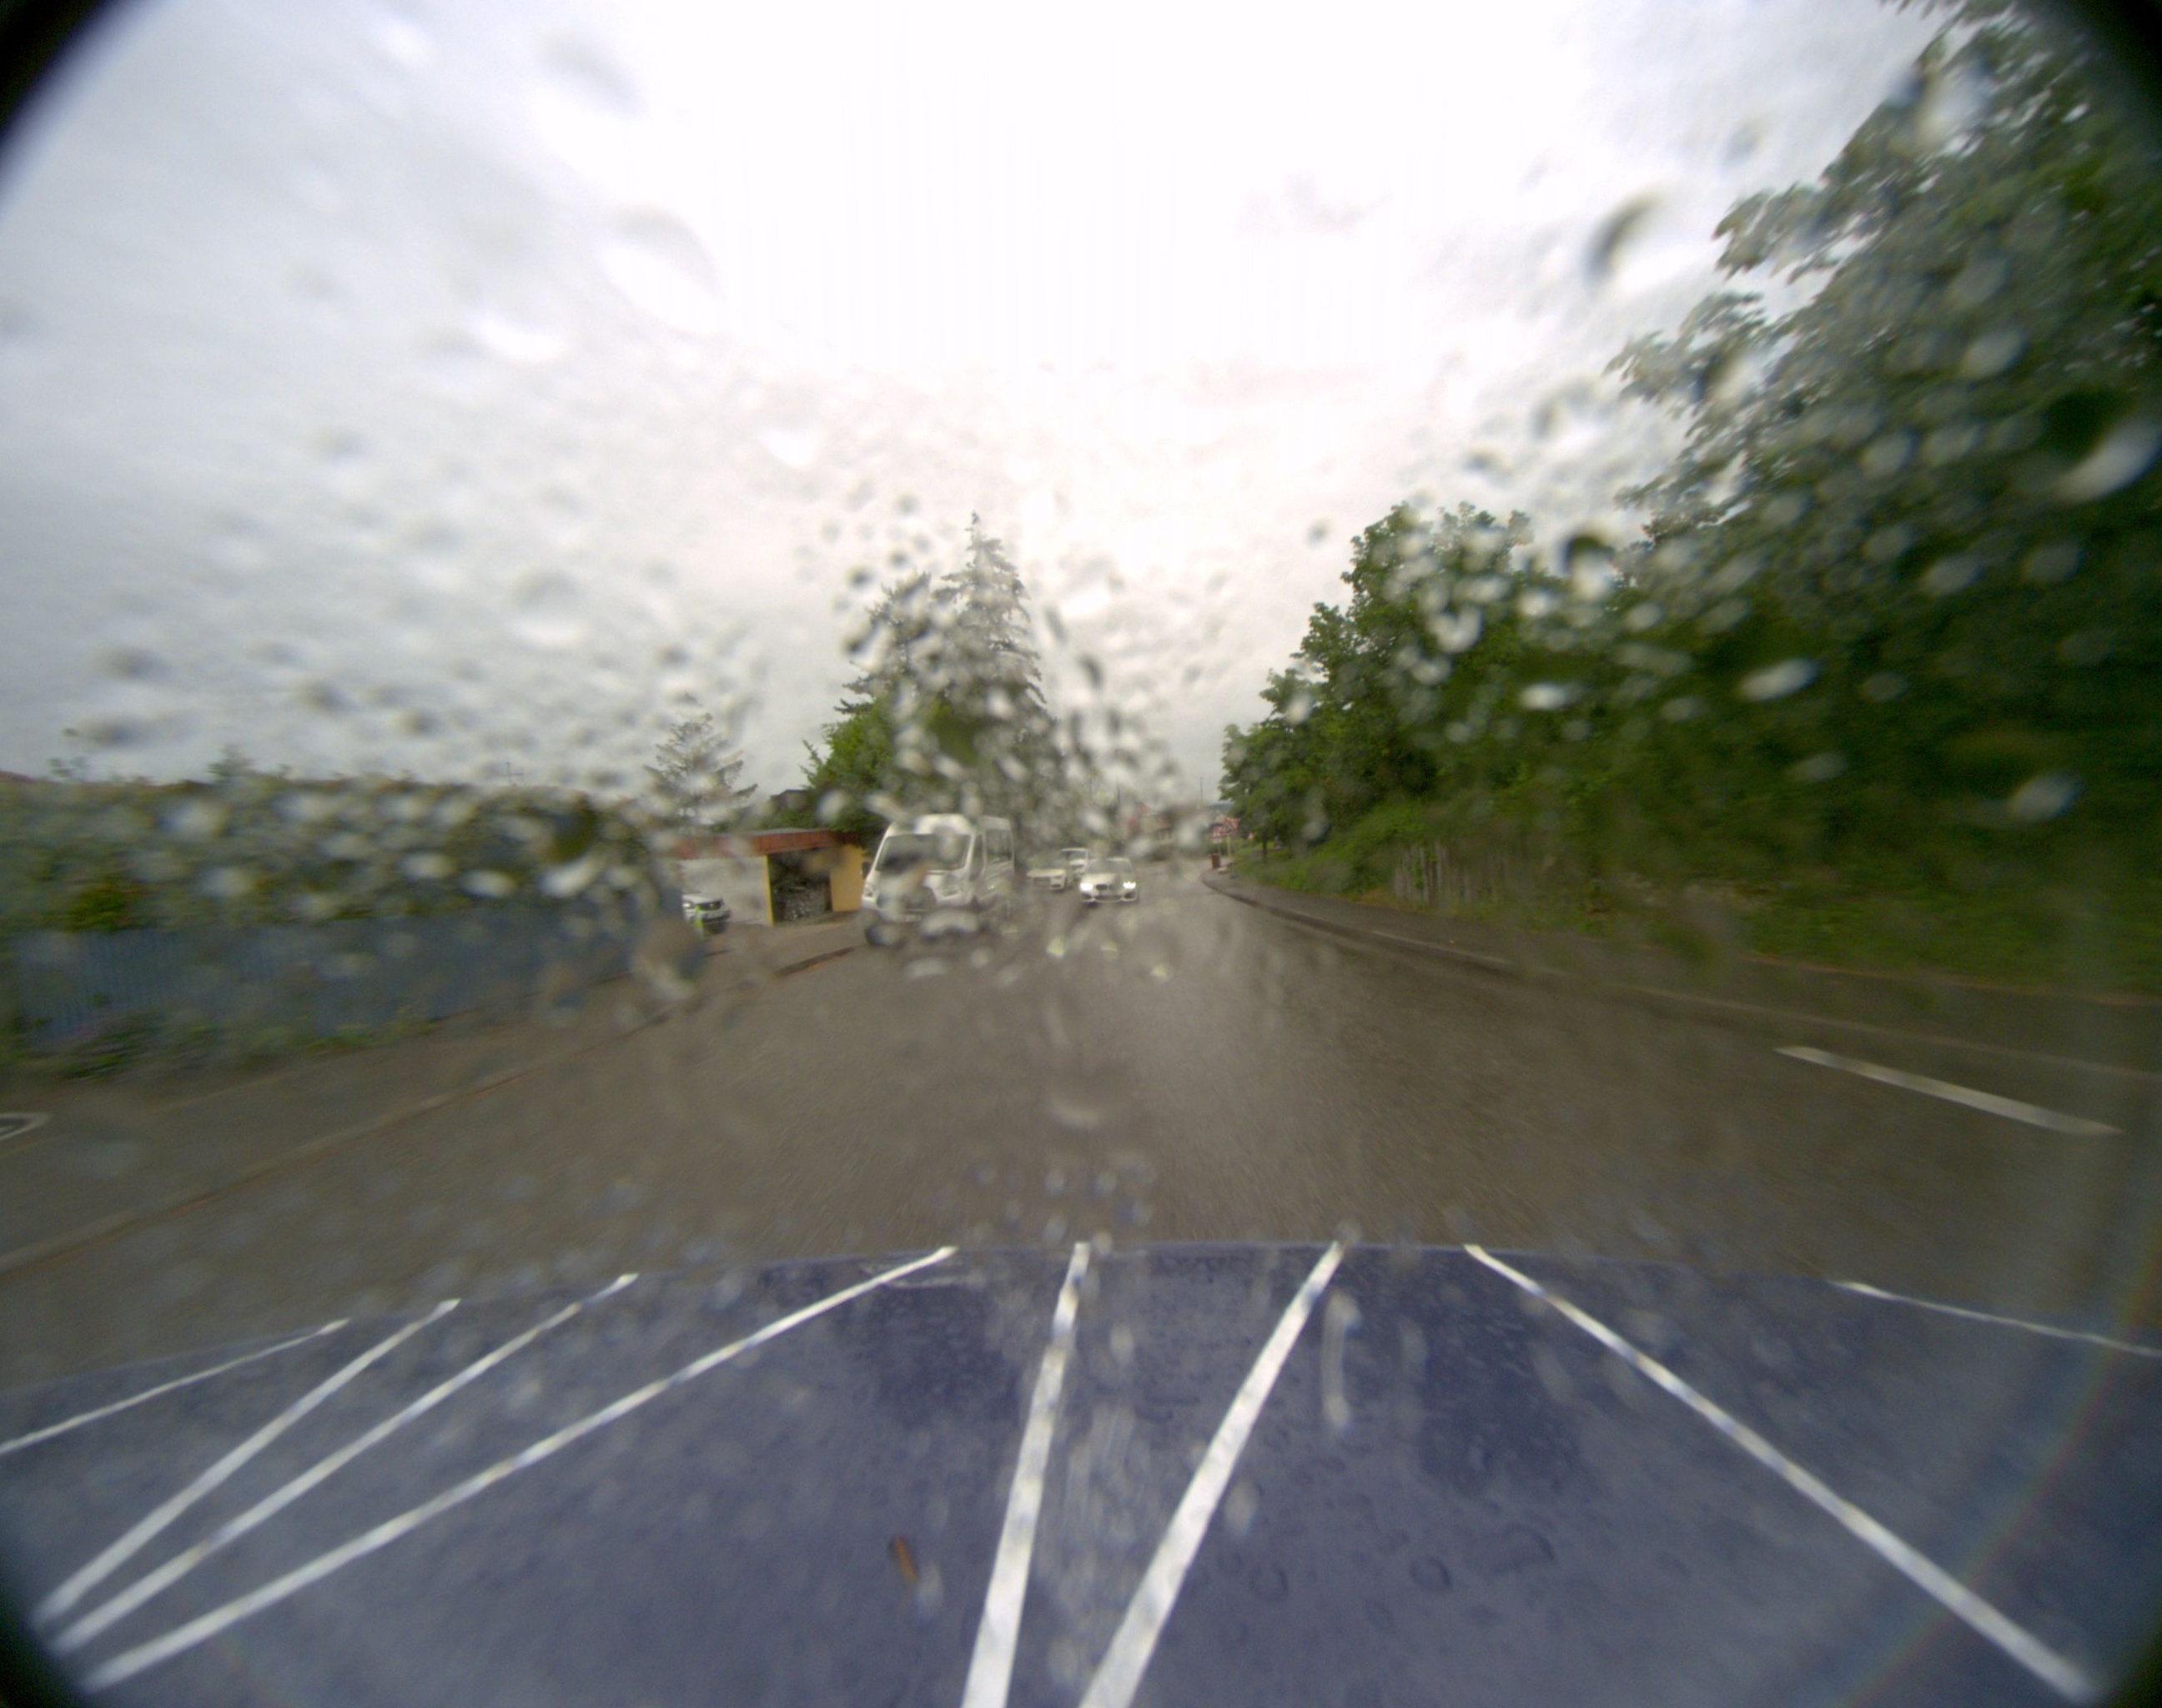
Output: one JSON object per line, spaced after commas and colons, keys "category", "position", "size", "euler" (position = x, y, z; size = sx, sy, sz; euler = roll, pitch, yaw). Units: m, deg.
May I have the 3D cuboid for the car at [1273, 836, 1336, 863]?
{"category": "car", "position": [16.605, -0.355, 56.607], "size": [3.997, 1.753, 1.963], "euler": [-3, 1, 0]}

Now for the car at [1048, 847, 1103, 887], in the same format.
{"category": "car", "position": [-0.195, 0.578, 37.834], "size": [1.868, 1.808, 4.864], "euler": [-2, 1, 9]}

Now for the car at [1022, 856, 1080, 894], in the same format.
{"category": "car", "position": [-1.207, 0.843, 32.224], "size": [1.753, 1.415, 4.002], "euler": [-2, 1, 8]}

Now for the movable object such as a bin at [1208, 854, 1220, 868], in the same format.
{"category": "movable object such as a bin", "position": [10.256, 0.523, 58.671], "size": [0.881, 1.024, 0.803], "euler": [-2, 1, 9]}

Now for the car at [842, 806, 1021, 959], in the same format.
{"category": "car", "position": [-2.781, 0.455, 15.947], "size": [2.077, 2.535, 6.182], "euler": [-2, 1, 4]}

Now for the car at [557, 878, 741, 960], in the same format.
{"category": "car", "position": [-10.251, 1.528, 18.088], "size": [3.589, 1.448, 1.660], "euler": [-8, -1, 17]}

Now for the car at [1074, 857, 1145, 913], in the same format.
{"category": "car", "position": [0.974, 0.895, 23.639], "size": [1.797, 1.455, 4.002], "euler": [-2, 1, 7]}
